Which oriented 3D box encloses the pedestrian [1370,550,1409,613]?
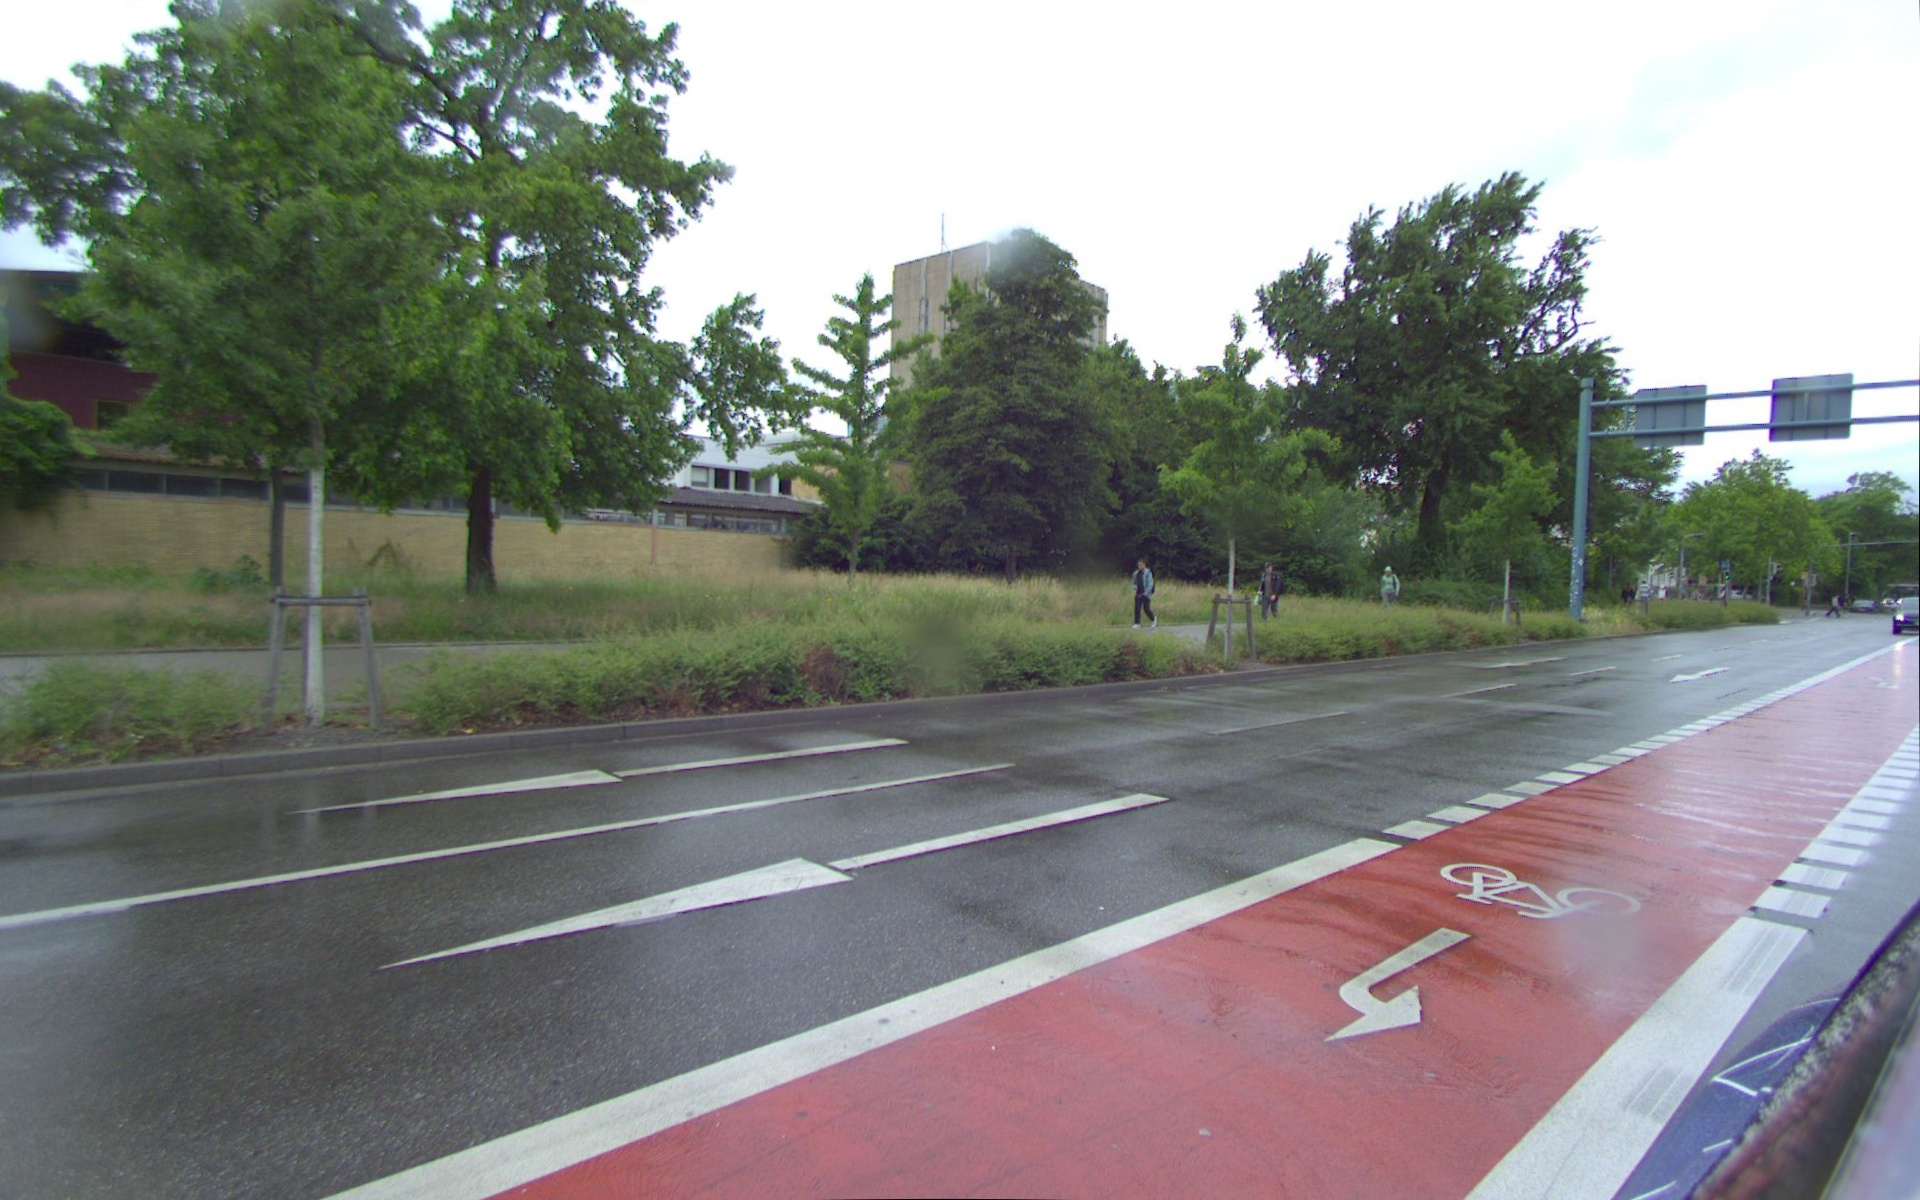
[{"bbox_3d":[14.039,-0.610,33.088,0.813,2.038,0.793,1,2,-38],"label":"pedestrian"}]

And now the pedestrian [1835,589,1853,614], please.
[{"bbox_3d":[69.141,0.108,79.179,0.611,1.847,0.789,2,1,-15],"label":"pedestrian"}]

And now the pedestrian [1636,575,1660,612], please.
[{"bbox_3d":[35.871,-0.351,52.739,0.835,1.882,0.732,1,2,-38],"label":"pedestrian"}]

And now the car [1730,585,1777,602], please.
[{"bbox_3d":[97.503,-0.814,124.406,4.405,1.895,1.615,4,2,39],"label":"car"}]

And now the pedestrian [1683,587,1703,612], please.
[{"bbox_3d":[49.222,-0.022,67.942,0.868,1.627,0.856,3,2,25],"label":"pedestrian"}]

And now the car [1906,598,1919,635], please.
[{"bbox_3d":[38.241,0.655,39.645,1.657,1.381,4.042,4,2,44],"label":"car"}]

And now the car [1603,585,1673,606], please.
[{"bbox_3d":[53.223,-0.358,79.509,4.375,1.353,1.747,4,5,43],"label":"car"}]

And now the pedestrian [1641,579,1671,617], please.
[{"bbox_3d":[32.748,-0.103,47.599,0.814,1.743,0.935,4,-2,-39],"label":"pedestrian"}]

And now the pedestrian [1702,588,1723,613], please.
[{"bbox_3d":[50.175,0.015,67.469,0.868,1.627,0.857,3,2,24],"label":"pedestrian"}]

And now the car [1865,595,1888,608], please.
[{"bbox_3d":[96.335,0.150,106.324,1.657,1.282,4.042,4,3,44],"label":"car"}]

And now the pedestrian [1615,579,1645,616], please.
[{"bbox_3d":[32.212,-0.127,48.647,0.814,1.725,0.935,4,-2,-39],"label":"pedestrian"}]

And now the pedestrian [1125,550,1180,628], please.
[{"bbox_3d":[4.627,-0.281,24.381,0.813,1.819,0.936,1,2,-37],"label":"pedestrian"}]

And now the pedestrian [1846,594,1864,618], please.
[{"bbox_3d":[70.362,0.442,79.551,0.612,1.847,0.788,2,1,-7],"label":"pedestrian"}]

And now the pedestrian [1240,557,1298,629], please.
[{"bbox_3d":[7.867,-0.191,25.770,1.026,1.769,0.936,1,2,-38],"label":"pedestrian"}]
